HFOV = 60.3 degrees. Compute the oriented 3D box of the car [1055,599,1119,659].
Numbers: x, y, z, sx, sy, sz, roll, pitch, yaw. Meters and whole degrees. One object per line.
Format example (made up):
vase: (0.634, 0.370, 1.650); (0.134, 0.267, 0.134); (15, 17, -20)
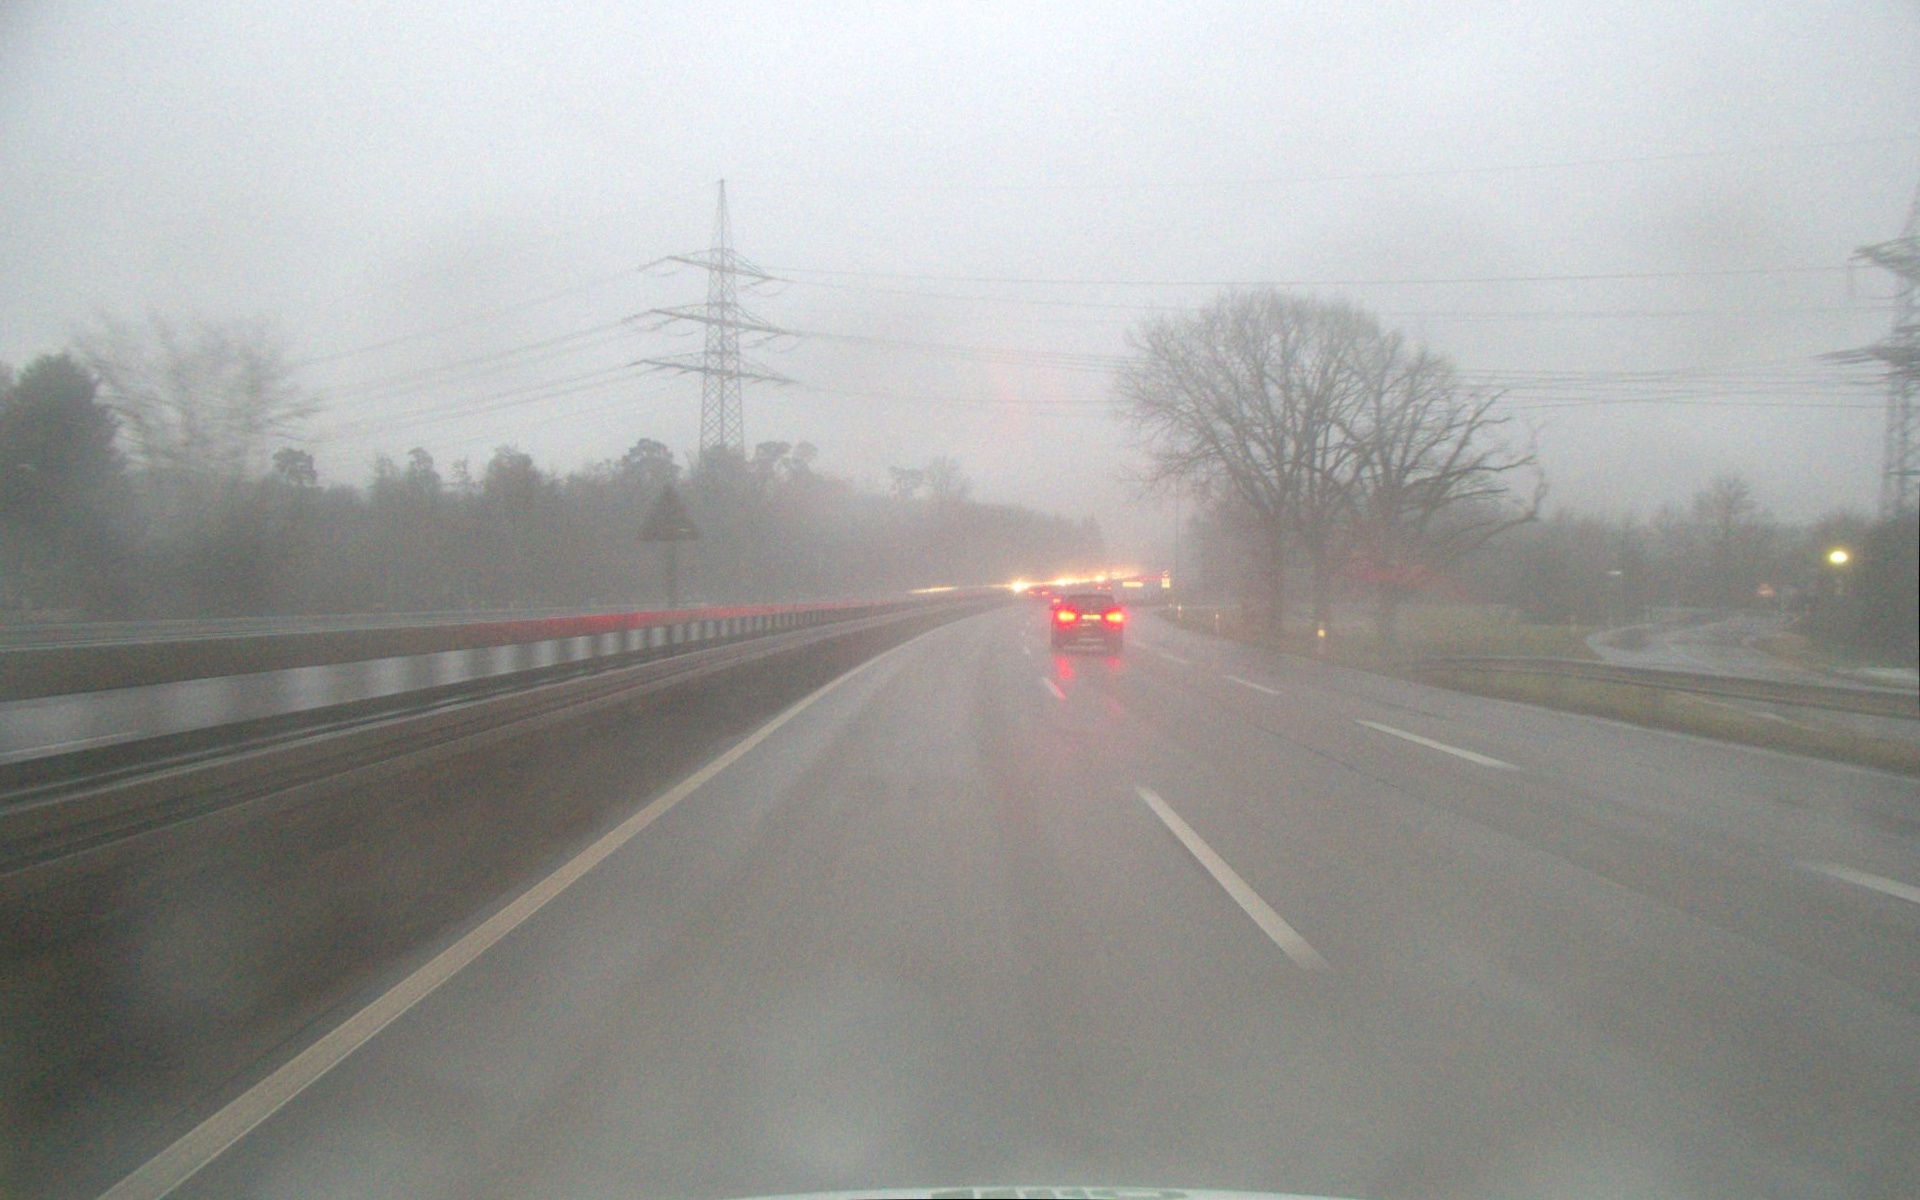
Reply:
car: (3.532, 0.785, 46.531); (1.643, 1.535, 3.810); (1, 1, 2)
